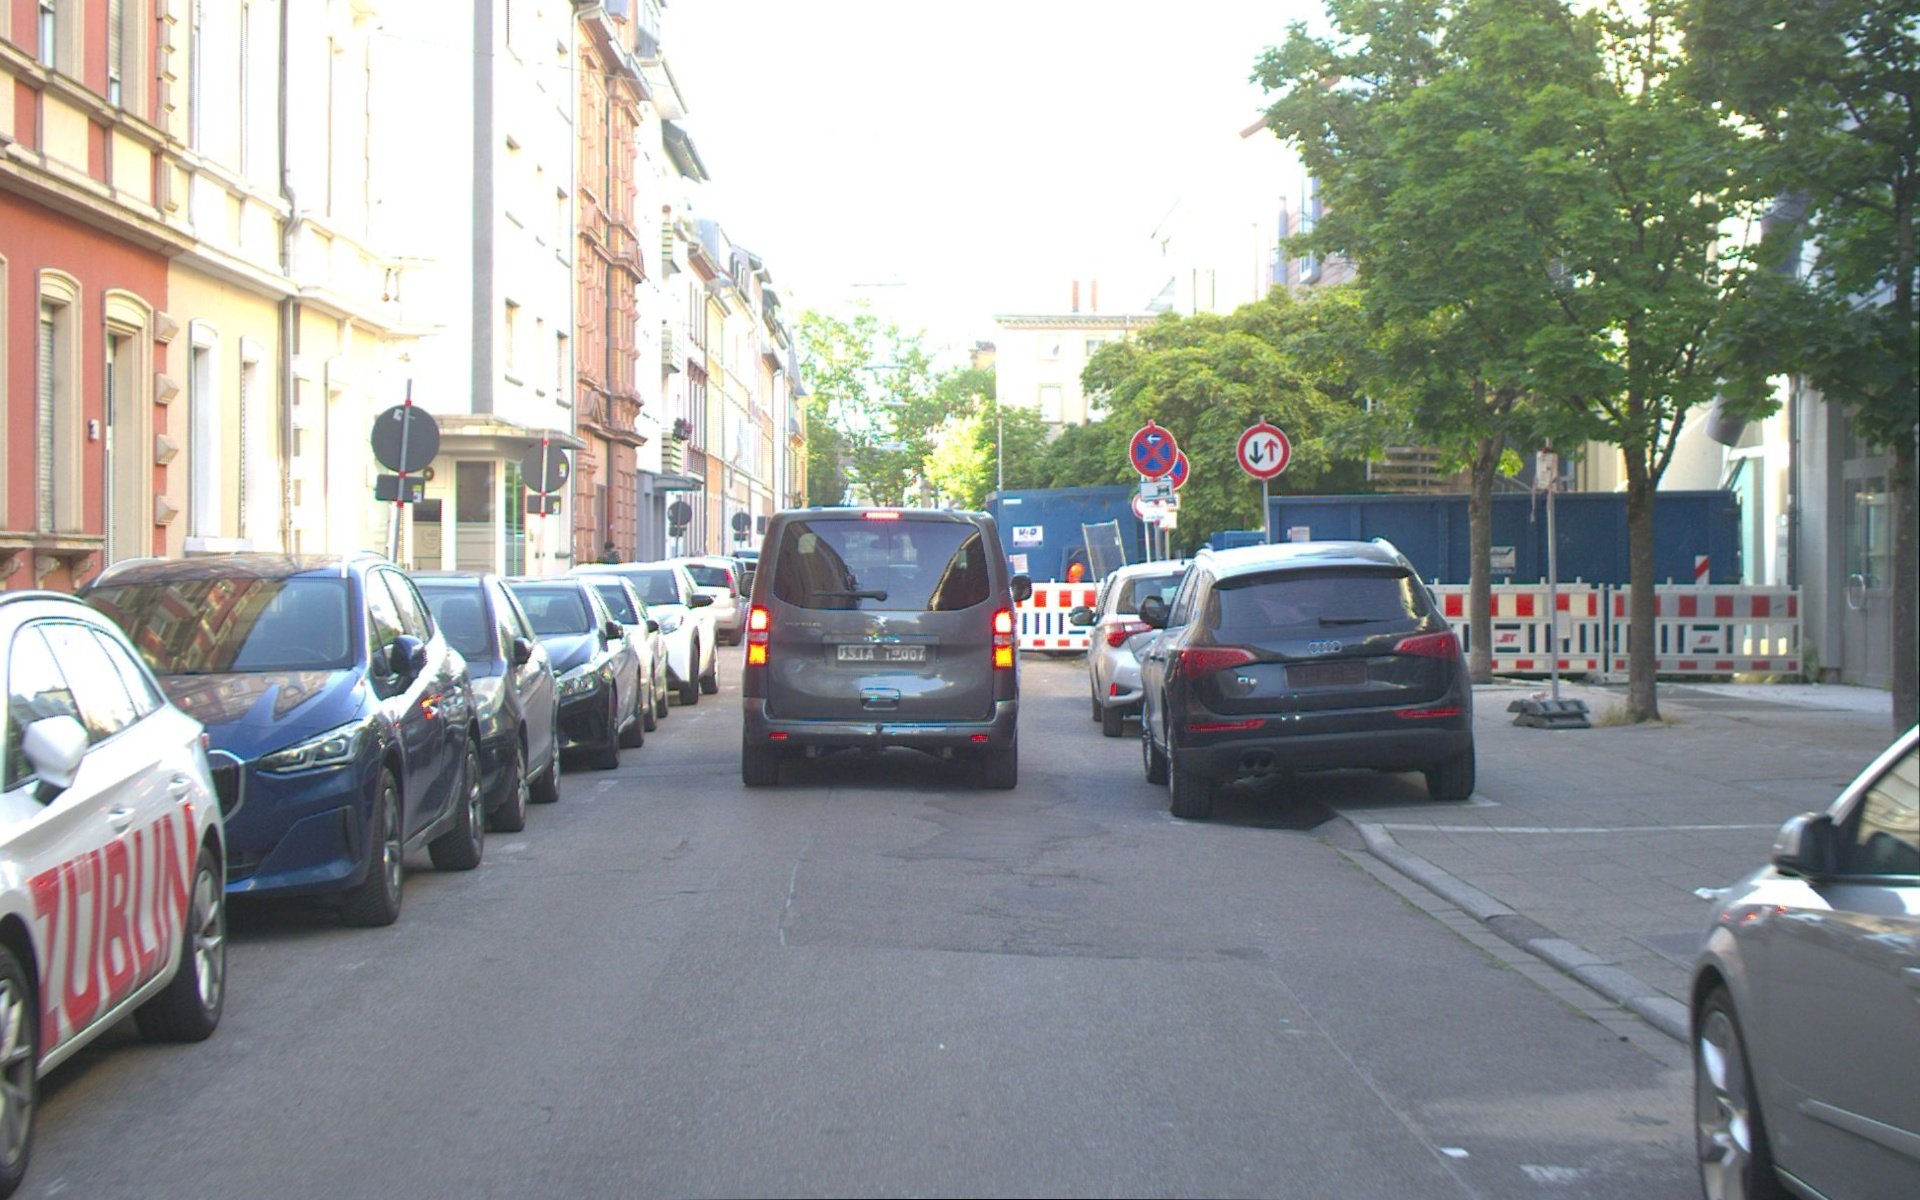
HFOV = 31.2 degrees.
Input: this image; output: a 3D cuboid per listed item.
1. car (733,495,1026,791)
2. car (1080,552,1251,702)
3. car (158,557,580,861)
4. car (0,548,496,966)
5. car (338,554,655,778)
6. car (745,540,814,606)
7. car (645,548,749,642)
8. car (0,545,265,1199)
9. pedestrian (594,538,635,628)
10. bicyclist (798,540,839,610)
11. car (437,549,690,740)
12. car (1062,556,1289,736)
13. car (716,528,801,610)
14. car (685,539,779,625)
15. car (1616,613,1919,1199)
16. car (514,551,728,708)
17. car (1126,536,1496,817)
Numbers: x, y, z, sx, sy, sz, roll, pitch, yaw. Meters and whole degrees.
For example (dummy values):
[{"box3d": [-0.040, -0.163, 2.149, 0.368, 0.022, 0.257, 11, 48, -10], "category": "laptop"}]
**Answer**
[{"box3d": [-0.574, 0.271, 24.379, 1.865, 1.880, 4.235, 1, 0, -1], "category": "car"}, {"box3d": [2.133, 0.251, 36.498, 1.676, 1.471, 3.729, -1, 1, 2], "category": "car"}, {"box3d": [-3.451, 0.566, 20.859, 1.901, 1.554, 4.241, -2, 1, -2], "category": "car"}, {"box3d": [-3.304, 0.586, 15.514, 1.920, 1.554, 4.267, -2, 1, -2], "category": "car"}, {"box3d": [-3.450, 0.438, 26.331, 1.920, 1.479, 4.267, -2, 1, -2], "category": "car"}, {"box3d": [-5.584, -0.831, 105.855, 1.891, 1.840, 4.349, 5, 0, -4], "category": "car"}, {"box3d": [-4.605, -0.094, 60.240, 1.656, 1.455, 3.418, 5, 0, -4], "category": "car"}, {"box3d": [-3.259, 0.669, 9.410, 1.920, 1.554, 4.267, -2, 1, -2], "category": "car"}, {"box3d": [-6.371, -0.313, 63.431, 0.740, 1.659, 0.704, 0, 1, -5], "category": "pedestrian"}, {"box3d": [-2.894, -0.519, 70.408, 0.733, 1.407, 0.940, 2, 0, 2], "category": "bicyclist"}, {"box3d": [-3.581, 0.349, 31.752, 1.920, 1.554, 4.267, -2, 1, -2], "category": "car"}, {"box3d": [1.929, 0.377, 31.768, 1.676, 1.520, 3.971, -1, 1, -2], "category": "car"}, {"box3d": [-5.047, -0.756, 85.675, 1.891, 1.840, 4.349, 5, 0, -4], "category": "car"}, {"box3d": [-5.069, -0.403, 76.305, 1.891, 1.714, 3.754, 5, 0, -4], "category": "car"}, {"box3d": [2.509, 0.766, 6.132, 1.763, 1.424, 4.345, -1, 1, -1], "category": "car"}, {"box3d": [-3.593, 0.273, 37.155, 1.920, 1.502, 4.267, -2, 1, -1], "category": "car"}, {"box3d": [2.192, 0.426, 22.622, 1.885, 1.617, 4.434, -1, 1, -1], "category": "car"}]
